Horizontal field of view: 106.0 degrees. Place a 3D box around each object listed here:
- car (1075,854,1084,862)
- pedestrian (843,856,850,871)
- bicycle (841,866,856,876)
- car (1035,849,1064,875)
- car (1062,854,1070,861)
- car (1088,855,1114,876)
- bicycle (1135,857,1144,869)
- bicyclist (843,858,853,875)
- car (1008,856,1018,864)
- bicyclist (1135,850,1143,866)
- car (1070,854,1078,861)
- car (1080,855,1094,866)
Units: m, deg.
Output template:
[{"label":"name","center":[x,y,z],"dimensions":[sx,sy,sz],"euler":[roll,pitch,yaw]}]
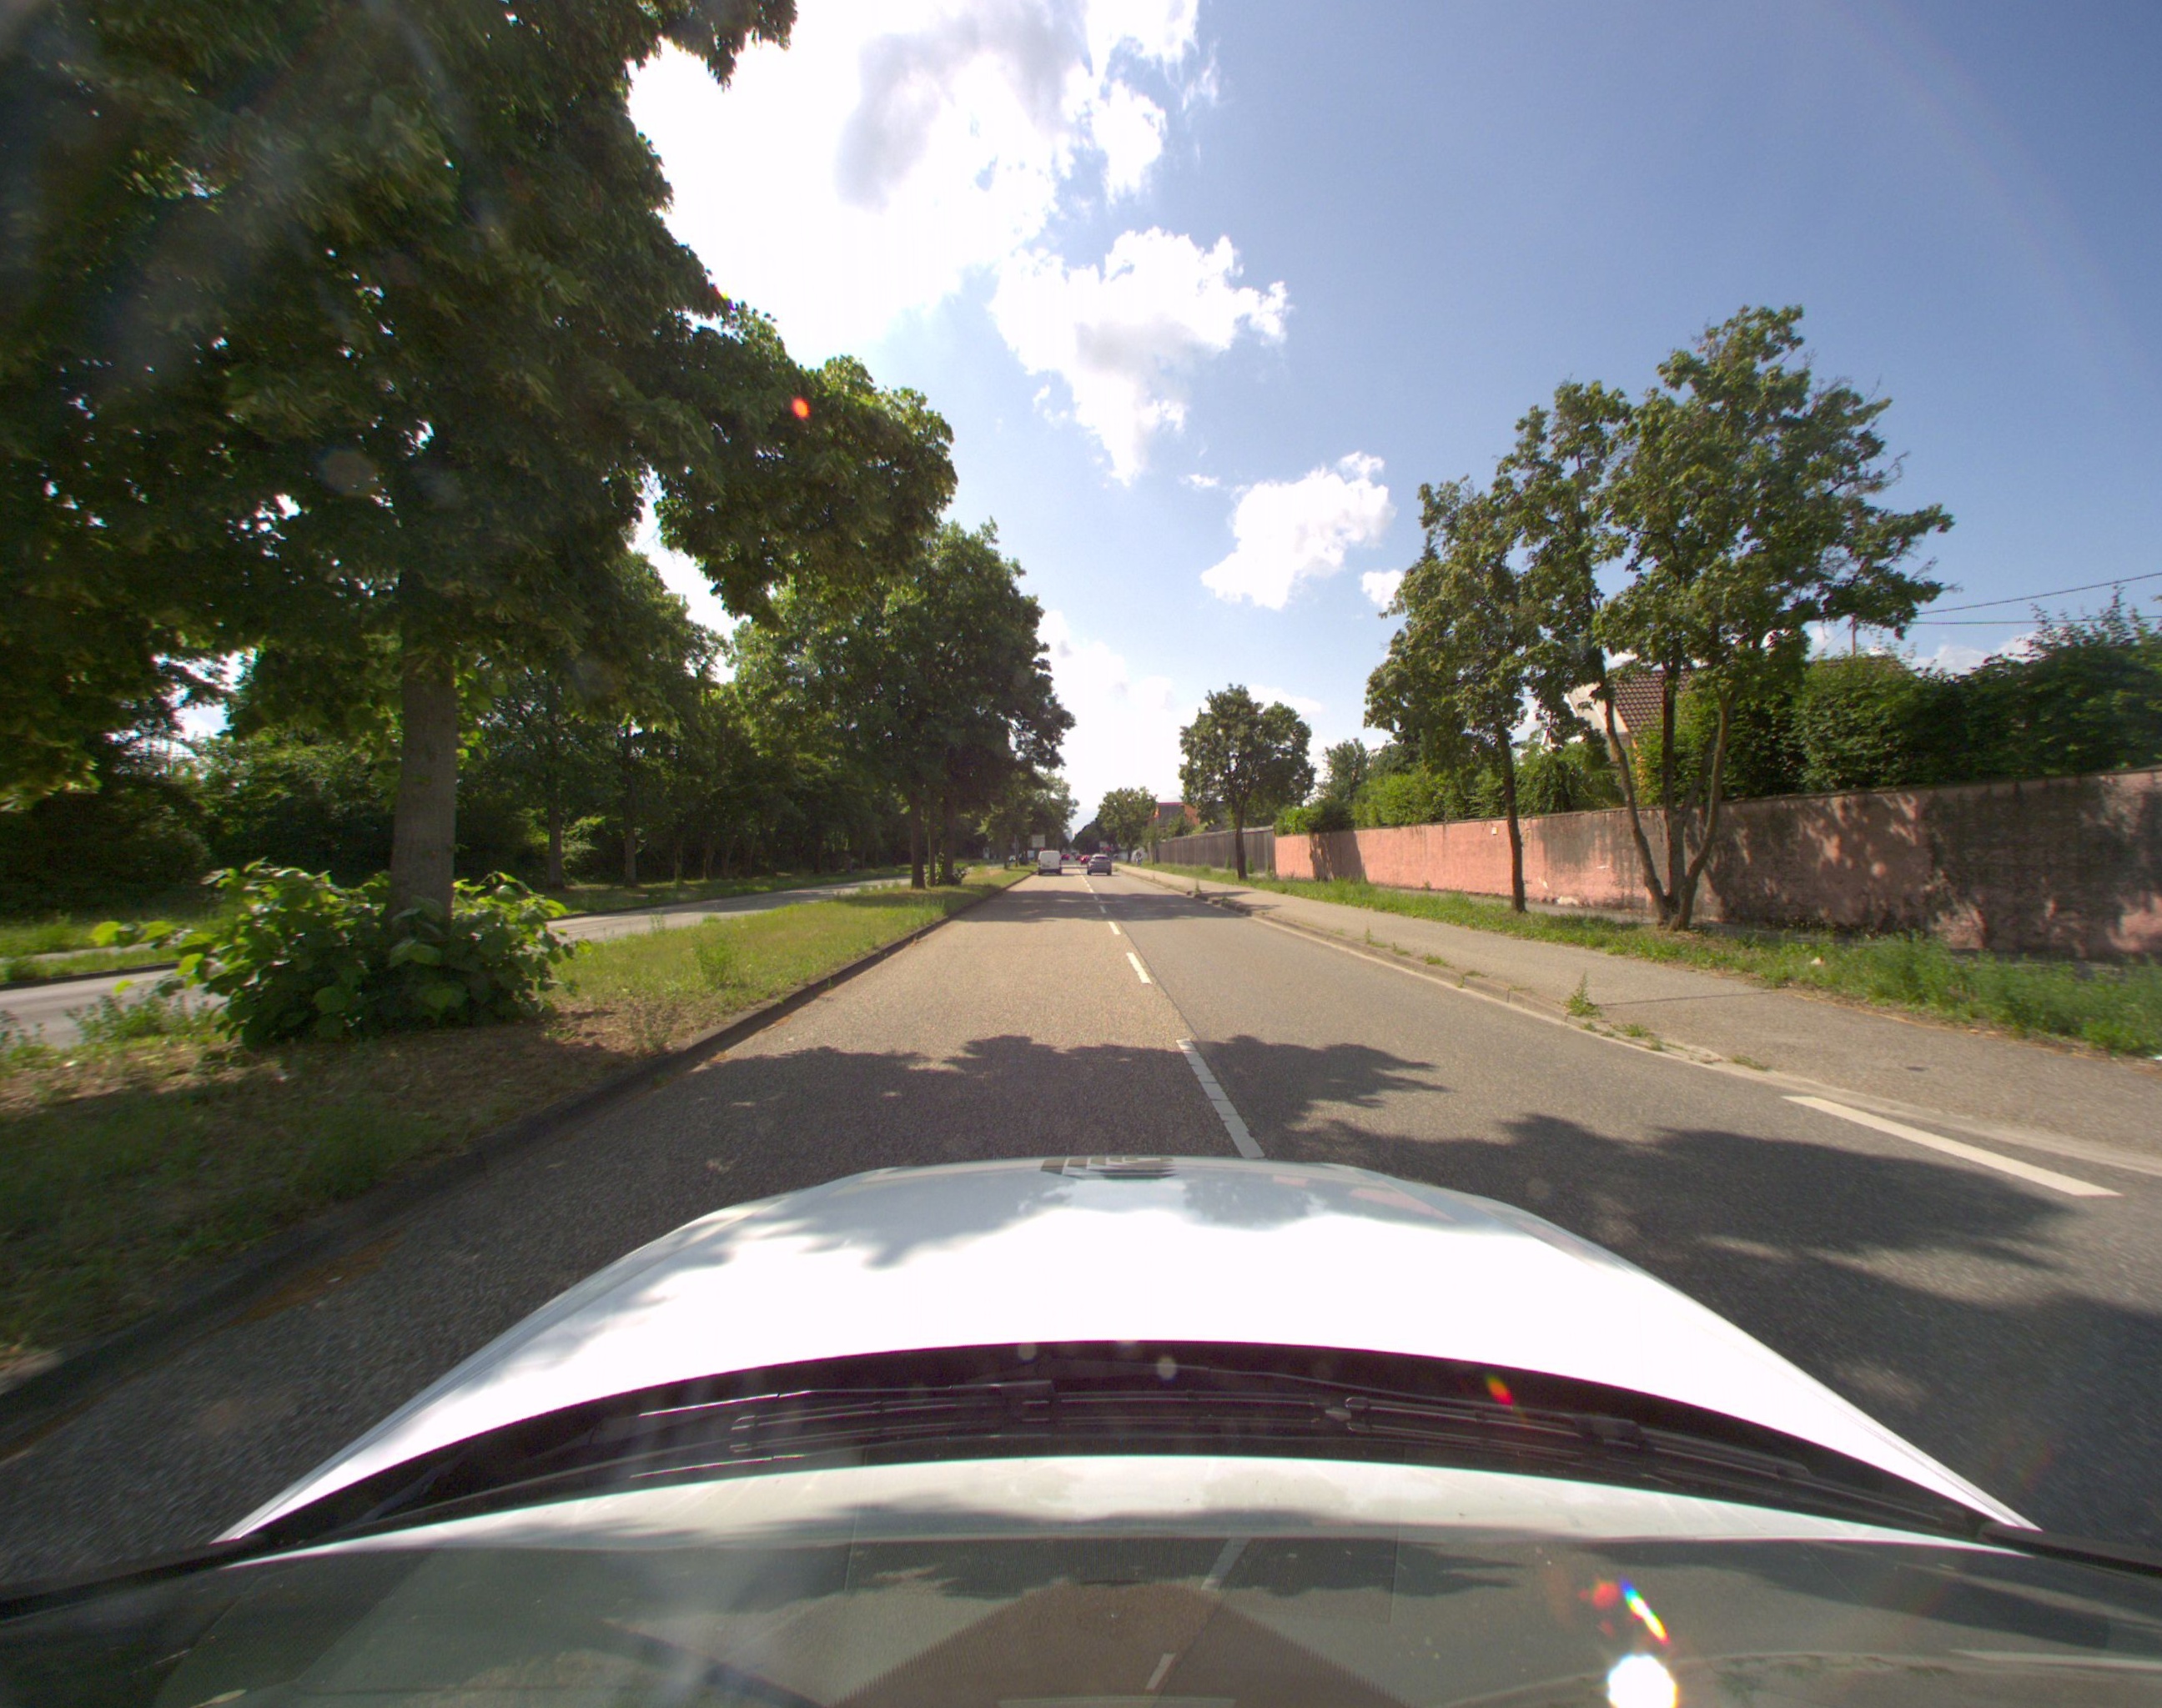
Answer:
[{"label":"car","center":[-0.387,0.992,203.853],"dimensions":[1.988,1.772,4.145],"euler":[0,0,-1]},{"label":"pedestrian","center":[-26.447,1.090,91.853],"dimensions":[0.642,1.630,0.656],"euler":[0,0,0]},{"label":"bicycle","center":[-19.964,1.450,69.905],"dimensions":[0.615,0.878,1.916],"euler":[-1,0,2]},{"label":"car","center":[-2.312,0.586,61.561],"dimensions":[2.060,1.912,4.644],"euler":[-1,0,-1]},{"label":"car","center":[-3.823,0.847,204.076],"dimensions":[1.935,1.768,4.145],"euler":[-1,0,-1]},{"label":"car","center":[1.495,0.849,62.059],"dimensions":[1.869,1.589,4.183],"euler":[-1,0,-1]},{"label":"bicycle","center":[5.429,0.817,76.073],"dimensions":[0.644,1.067,2.278],"euler":[-3,0,0]},{"label":"bicyclist","center":[-19.975,1.089,69.817],"dimensions":[0.616,1.448,0.730],"euler":[-1,0,2]},{"label":"car","center":[-15.918,1.389,191.933],"dimensions":[1.987,1.705,4.192],"euler":[-1,0,-1]},{"label":"bicyclist","center":[5.406,0.361,76.072],"dimensions":[0.652,1.412,0.986],"euler":[-3,0,0]},{"label":"car","center":[-1.819,0.923,213.649],"dimensions":[1.988,1.772,3.999],"euler":[0,0,-1]},{"label":"car","center":[0.879,0.947,121.717],"dimensions":[1.874,1.587,3.998],"euler":[-1,0,-1]}]
